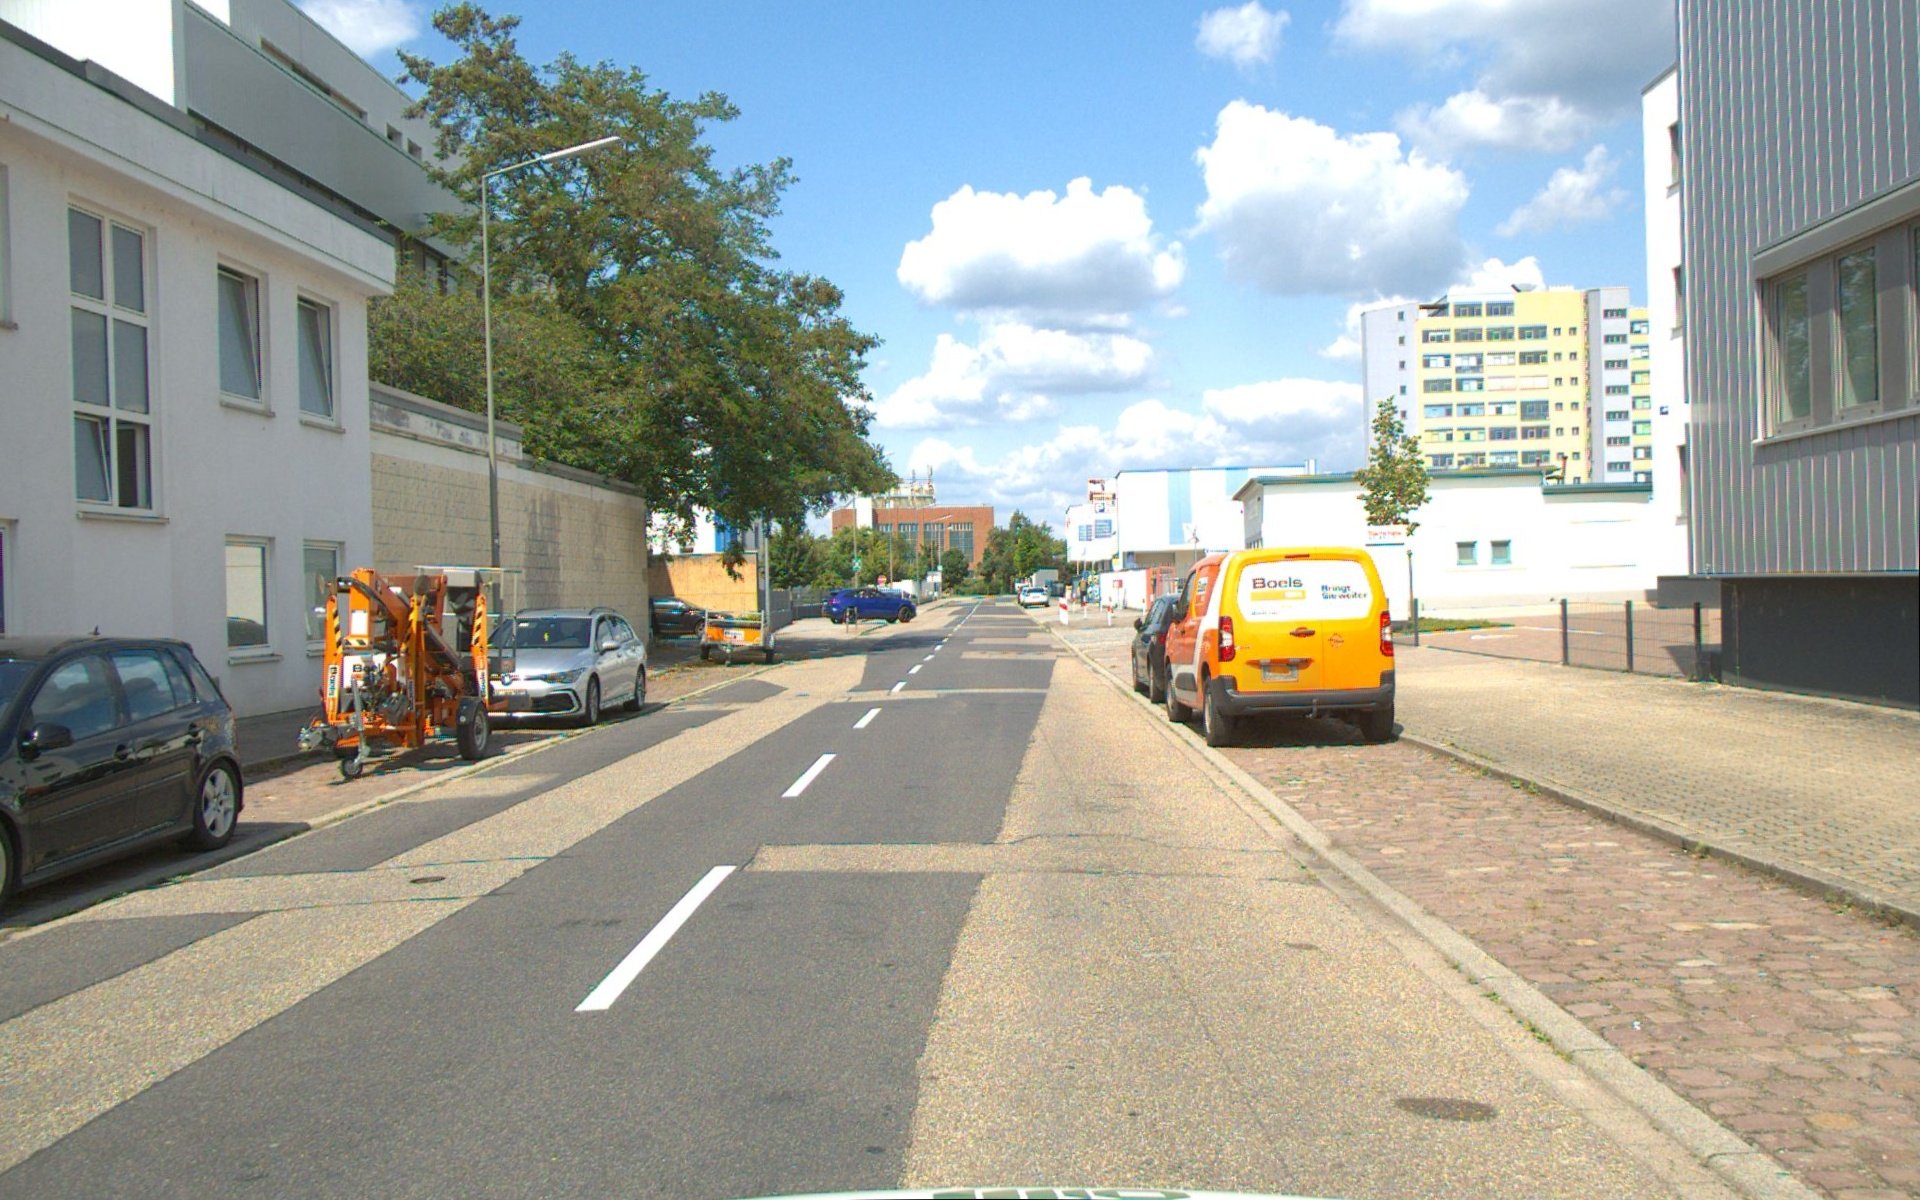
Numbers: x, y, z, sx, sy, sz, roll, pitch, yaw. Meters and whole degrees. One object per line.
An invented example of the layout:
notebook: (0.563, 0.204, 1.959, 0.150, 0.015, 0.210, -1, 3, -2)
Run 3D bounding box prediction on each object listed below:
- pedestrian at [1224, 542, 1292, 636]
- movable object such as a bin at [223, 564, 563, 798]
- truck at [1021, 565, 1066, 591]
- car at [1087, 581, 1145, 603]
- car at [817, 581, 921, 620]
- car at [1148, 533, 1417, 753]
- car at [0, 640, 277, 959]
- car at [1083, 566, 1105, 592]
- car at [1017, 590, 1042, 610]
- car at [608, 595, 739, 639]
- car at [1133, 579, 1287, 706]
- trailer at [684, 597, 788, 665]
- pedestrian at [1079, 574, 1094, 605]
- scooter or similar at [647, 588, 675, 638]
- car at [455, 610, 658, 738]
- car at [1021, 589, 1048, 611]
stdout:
pedestrian: (6.485, -0.236, 36.045, 0.976, 1.985, 1.084, -3, 0, -22)
movable object such as a bin: (-5.482, 0.662, 16.749, 1.580, 1.952, 5.139, 2, 1, 0)
truck: (12.162, -3.205, 239.936, 2.279, 3.629, 9.346, 0, 2, 31)
car: (11.899, -0.601, 126.403, 4.191, 1.444, 2.001, -3, 1, 2)
car: (-4.371, 0.019, 79.588, 4.614, 1.621, 1.906, -3, 1, -18)
car: (3.192, 0.379, 17.308, 1.834, 1.925, 4.452, 2, 0, -1)
car: (-5.587, 1.033, 9.460, 1.639, 1.481, 4.223, 0, 0, -1)
car: (13.730, -2.137, 169.765, 1.884, 2.507, 5.260, -1, 0, 1)
car: (5.576, -0.044, 133.072, 1.797, 1.547, 4.462, -1, 0, 1)
car: (-9.398, 0.548, 54.425, 3.909, 1.386, 1.795, 1, 0, 4)
car: (3.387, 0.528, 23.033, 1.625, 1.585, 4.179, 1, 0, 2)
trailer: (-5.157, 0.681, 38.544, 1.730, 1.464, 4.337, 1, 0, 1)
pedestrian: (7.473, -0.615, 97.862, 0.753, 1.787, 0.787, -4, 0, 1)
scooter or similar: (-8.085, 0.342, 44.763, 0.472, 1.301, 1.361, 1, 0, 1)
car: (-5.253, 0.902, 22.105, 1.639, 1.481, 4.513, 0, 0, -1)
car: (5.397, -0.002, 120.194, 1.829, 1.547, 4.598, -1, 0, 1)
